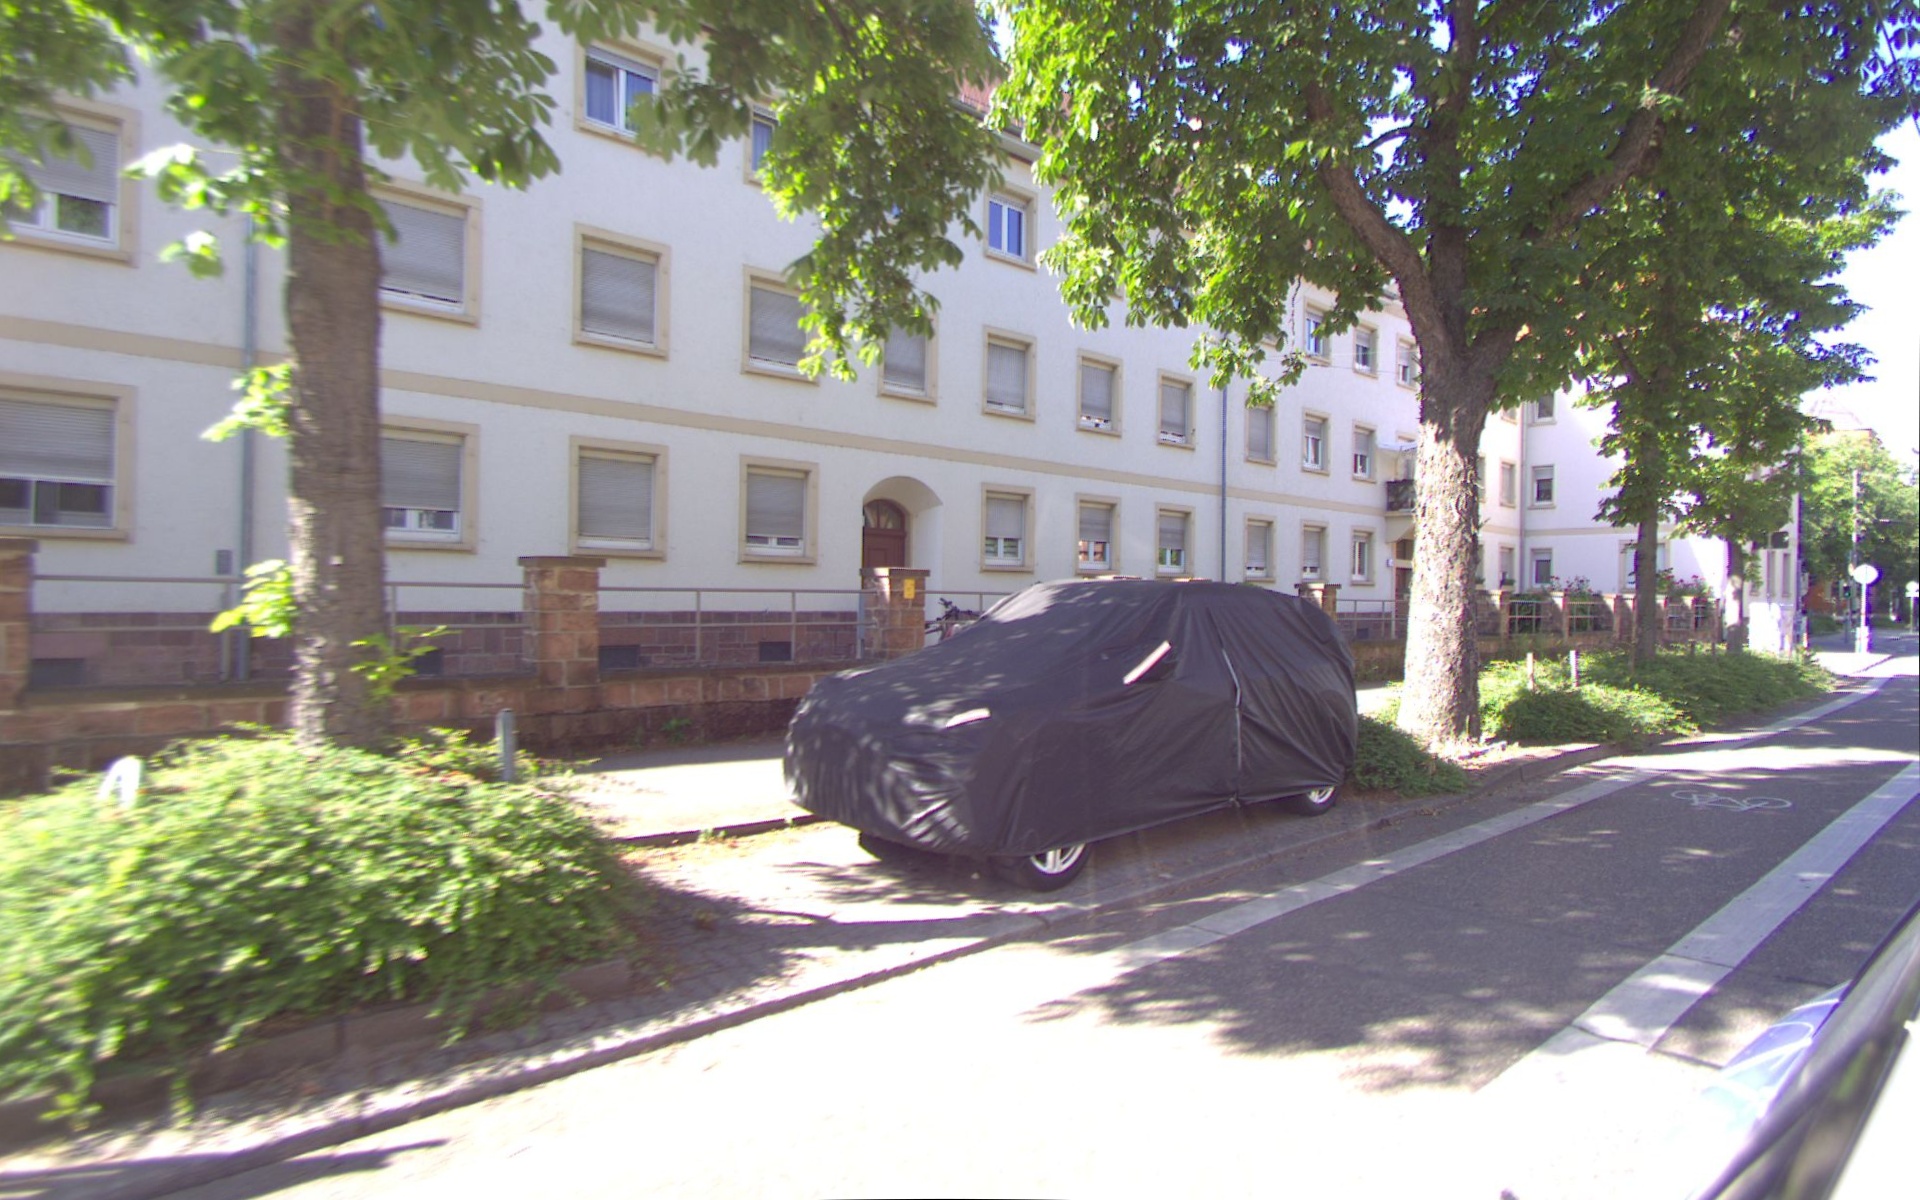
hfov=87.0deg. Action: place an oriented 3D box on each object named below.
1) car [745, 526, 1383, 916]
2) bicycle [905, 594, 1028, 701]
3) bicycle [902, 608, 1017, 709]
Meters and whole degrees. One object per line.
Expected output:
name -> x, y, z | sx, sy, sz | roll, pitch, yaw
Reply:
car -> 0.941, 0.574, 6.786 | 4.400, 1.789, 1.746 | 0, -1, -41
bicycle -> 0.105, 0.567, 12.653 | 1.646, 1.254, 0.448 | 0, 1, -42
bicycle -> 0.012, 0.748, 13.543 | 1.646, 1.254, 0.448 | 0, 1, -42
